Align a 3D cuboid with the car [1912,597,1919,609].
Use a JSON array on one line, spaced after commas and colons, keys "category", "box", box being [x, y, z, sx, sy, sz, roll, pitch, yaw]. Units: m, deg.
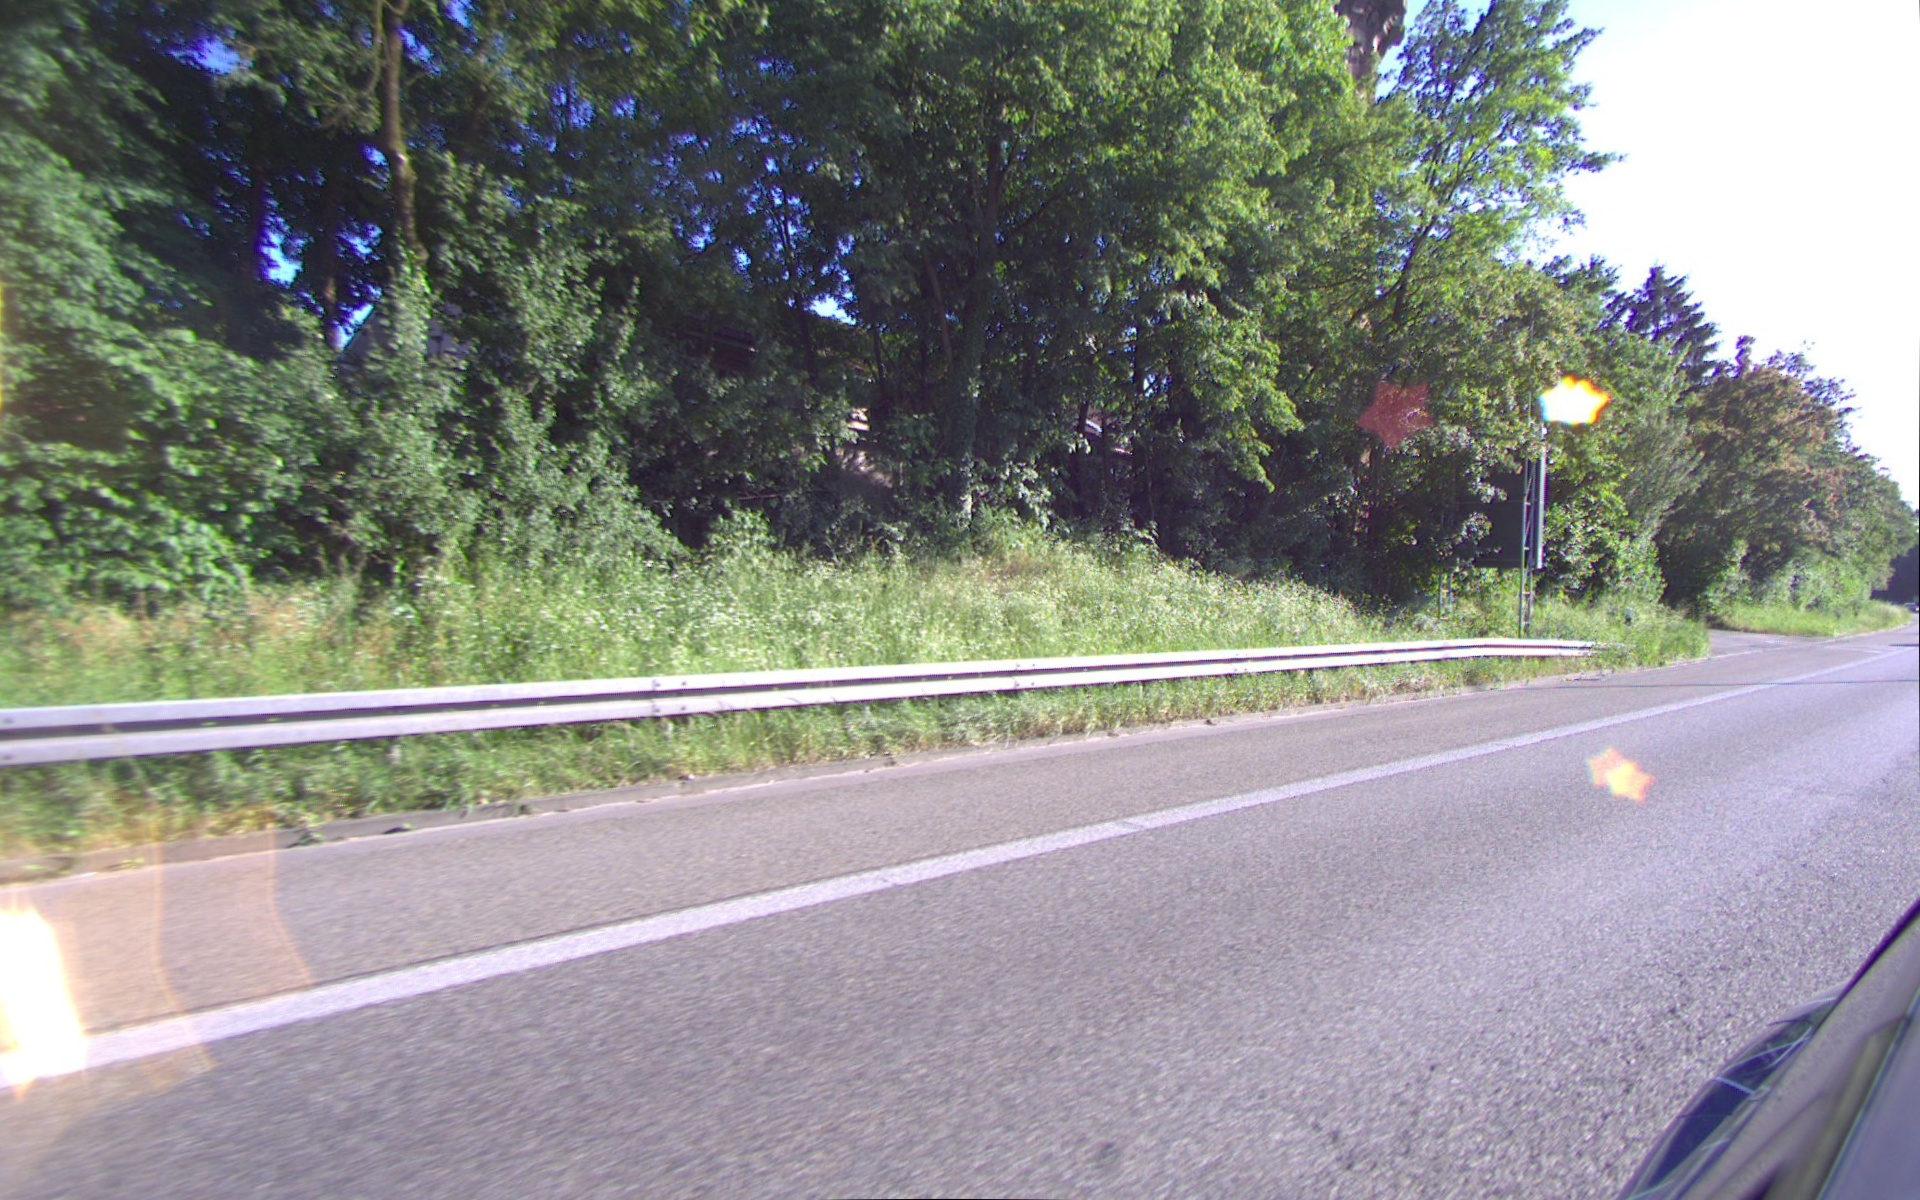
[{"category": "car", "box": [157.323, 0.508, 165.513, 1.990, 2.039, 3.943, 2, 1, 39]}]
